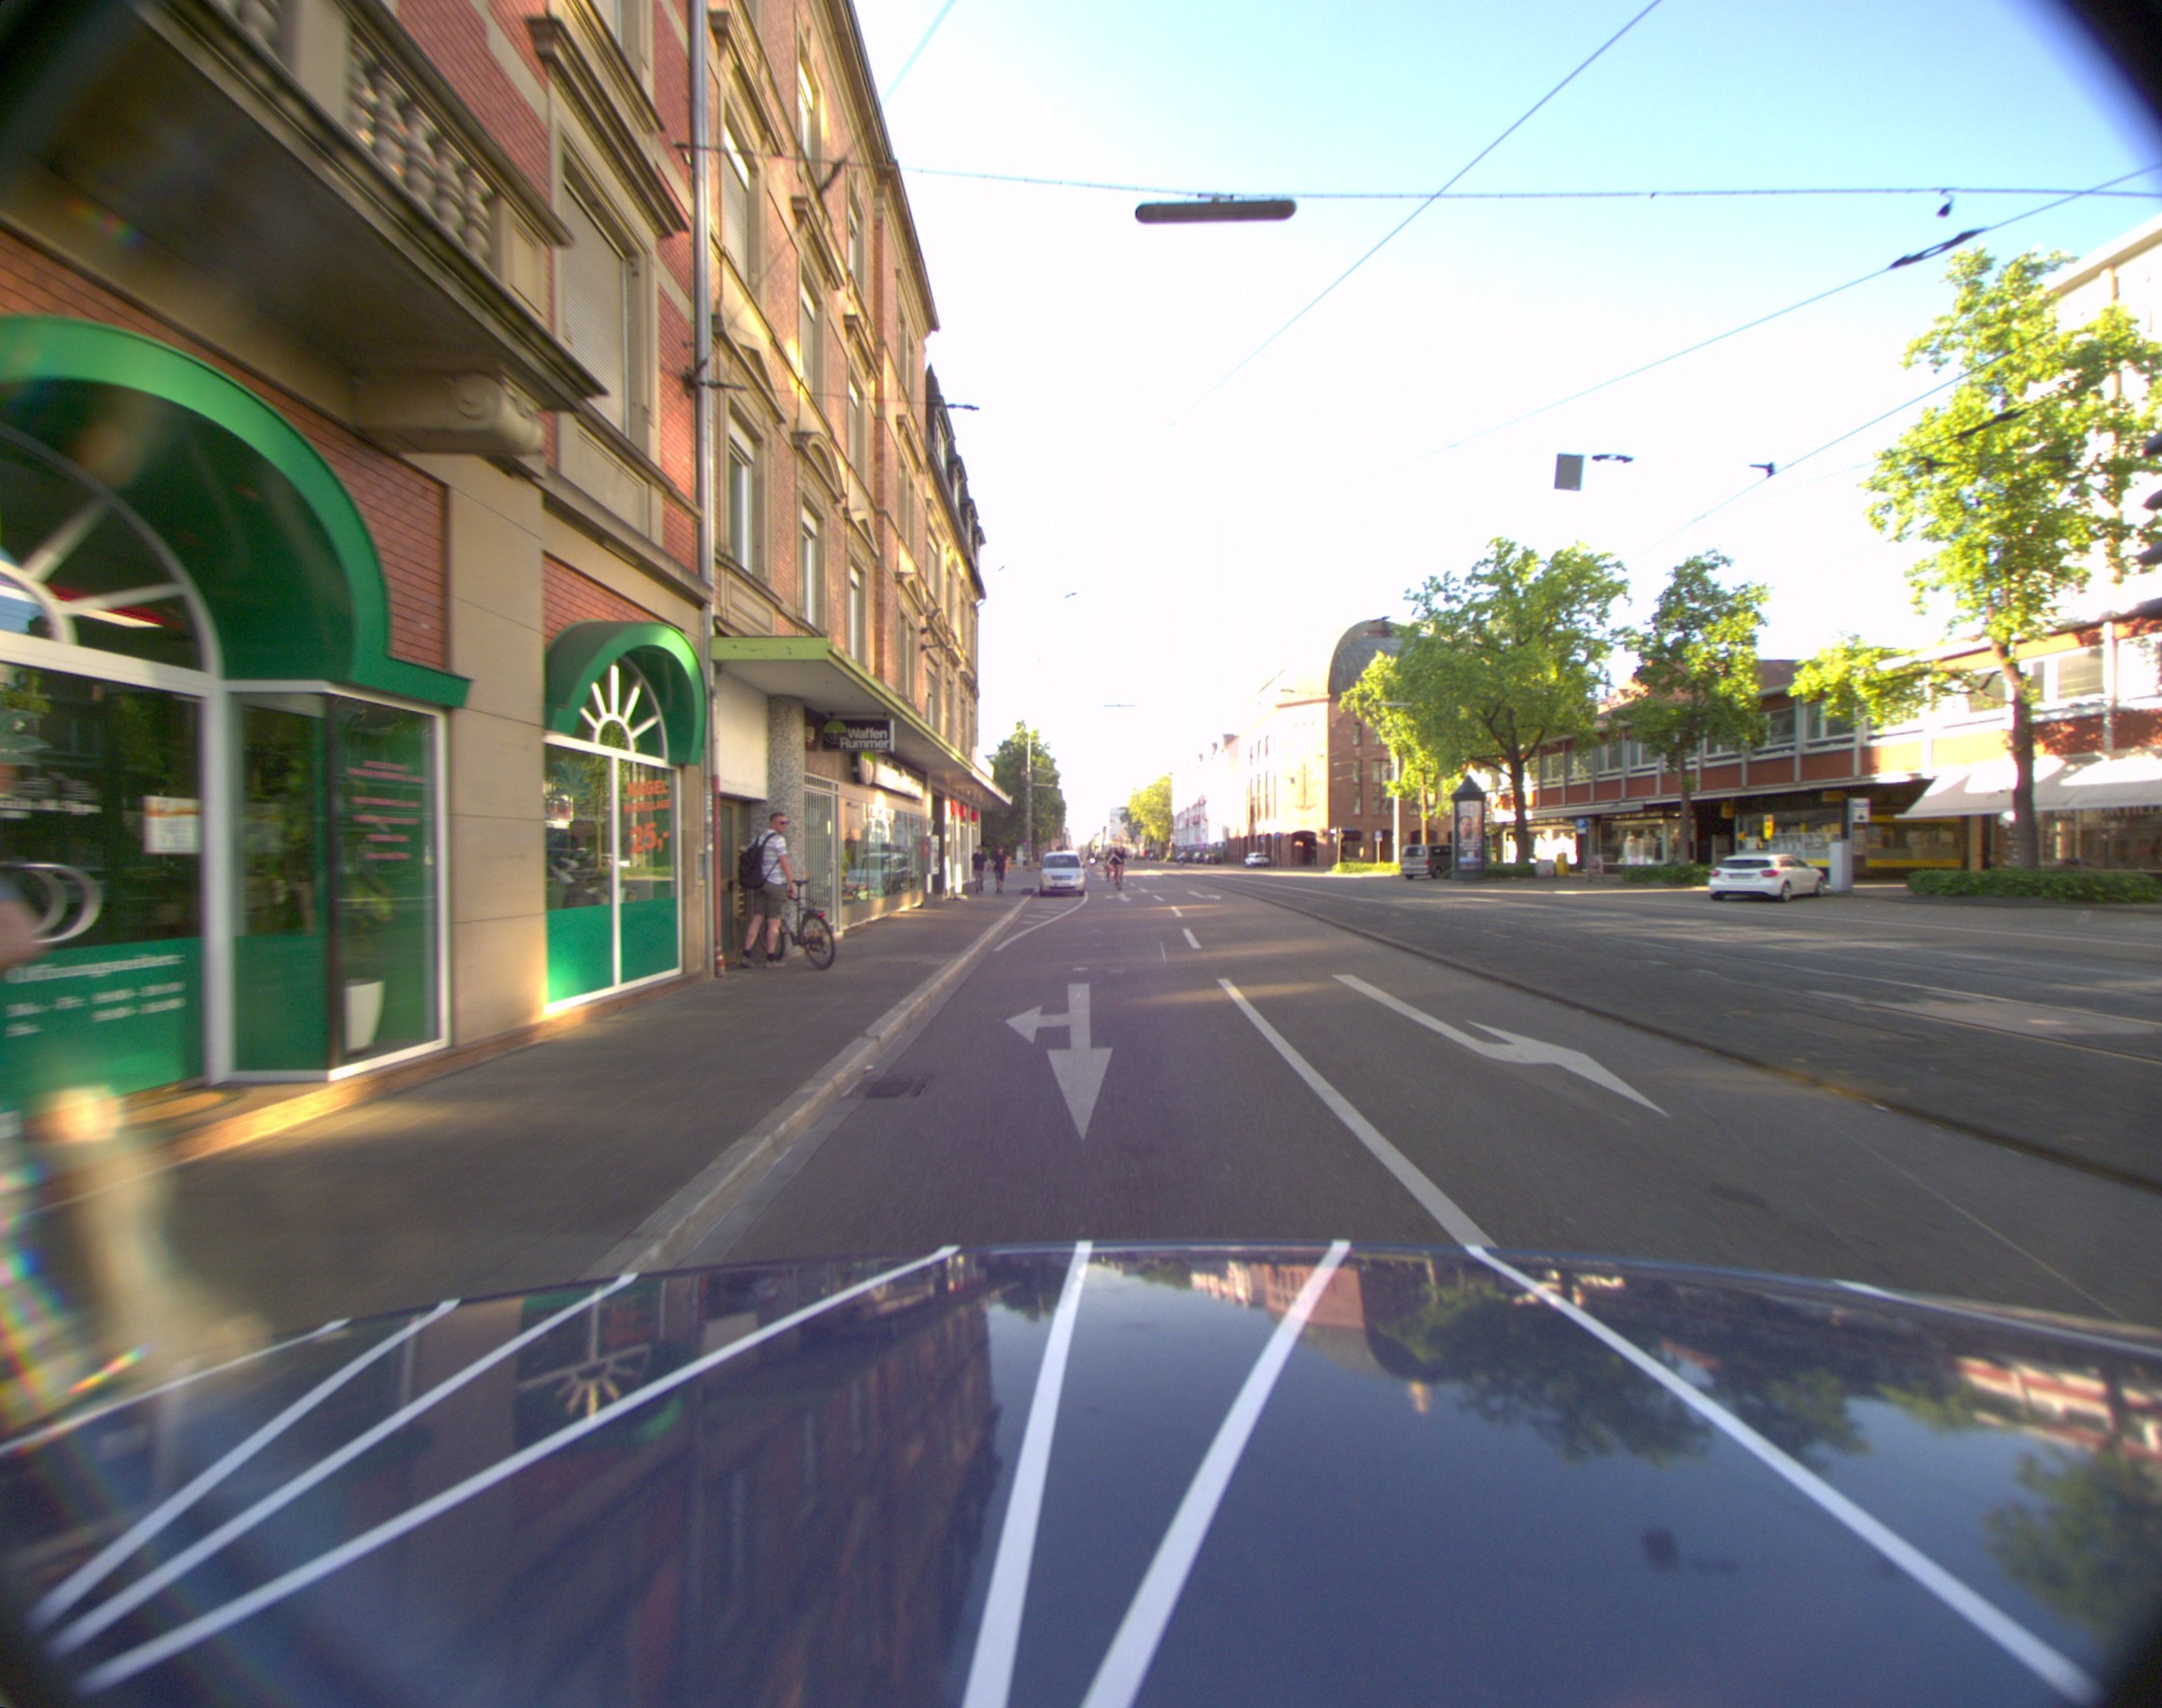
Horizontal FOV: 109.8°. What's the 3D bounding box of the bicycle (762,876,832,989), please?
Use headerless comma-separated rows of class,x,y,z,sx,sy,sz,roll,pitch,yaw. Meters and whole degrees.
bicycle,-3.676,0.933,9.750,0.669,1.246,1.891,0,0,-26

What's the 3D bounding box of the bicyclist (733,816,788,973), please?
bicyclist,-4.035,0.487,9.546,0.601,1.871,0.742,0,1,-26

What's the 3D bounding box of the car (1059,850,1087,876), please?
car,-0.513,0.564,50.758,1.671,1.674,4.000,0,0,2

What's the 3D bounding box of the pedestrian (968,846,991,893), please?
pedestrian,-3.802,0.587,28.438,0.701,1.713,0.681,2,1,1

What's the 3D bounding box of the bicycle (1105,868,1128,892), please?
bicycle,1.465,1.056,31.328,0.886,0.949,1.766,0,0,3

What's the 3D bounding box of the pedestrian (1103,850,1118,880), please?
pedestrian,1.670,0.603,43.000,0.849,1.651,0.850,0,0,3

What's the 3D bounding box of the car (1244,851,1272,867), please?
car,18.727,0.510,80.549,1.910,1.594,3.999,-1,1,-2

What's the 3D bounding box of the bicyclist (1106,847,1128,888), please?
bicyclist,1.476,0.550,31.491,0.886,1.650,0.803,0,1,3

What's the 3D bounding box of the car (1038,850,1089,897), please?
car,-0.600,0.696,29.045,1.670,1.674,4.001,0,0,3

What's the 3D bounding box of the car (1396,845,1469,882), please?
car,19.692,0.481,42.541,4.007,1.953,1.906,-1,1,-35

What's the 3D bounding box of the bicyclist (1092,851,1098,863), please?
bicyclist,1.481,0.319,80.284,0.646,1.176,0.723,0,0,-3

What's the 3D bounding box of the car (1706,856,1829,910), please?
car,21.501,0.841,23.759,4.006,1.466,1.793,-1,1,-31

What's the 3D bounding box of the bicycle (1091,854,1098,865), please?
bicycle,1.415,0.570,80.246,0.646,1.176,1.804,0,0,-3

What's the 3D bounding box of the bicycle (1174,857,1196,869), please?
bicycle,9.910,0.855,72.674,2.032,1.085,0.674,0,1,41

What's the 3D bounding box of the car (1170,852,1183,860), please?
car,18.791,0.373,149.740,1.965,1.594,3.999,-1,1,-2

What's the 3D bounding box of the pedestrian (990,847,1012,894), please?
pedestrian,-2.969,0.608,28.176,0.701,1.713,0.502,2,1,1

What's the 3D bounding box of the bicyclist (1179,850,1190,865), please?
bicyclist,9.897,0.341,72.679,0.761,1.414,0.674,1,1,41

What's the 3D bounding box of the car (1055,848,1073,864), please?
car,-1.823,0.179,81.203,1.671,1.674,4.000,0,0,2

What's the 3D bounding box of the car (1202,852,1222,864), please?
car,18.546,0.508,107.390,1.965,1.594,3.999,-1,1,-2

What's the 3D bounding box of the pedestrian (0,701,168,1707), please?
pedestrian,-2.249,0.675,1.143,0.824,1.883,0.754,2,1,0

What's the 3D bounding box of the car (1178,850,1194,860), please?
car,18.347,0.195,132.963,1.965,1.594,3.999,-1,1,-2

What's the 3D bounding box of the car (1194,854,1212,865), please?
car,18.267,0.821,114.062,1.965,1.594,3.999,-1,1,-2

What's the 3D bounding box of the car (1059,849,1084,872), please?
car,-0.693,0.461,56.189,1.671,1.674,4.000,0,0,2

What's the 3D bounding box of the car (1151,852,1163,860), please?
car,16.214,0.349,162.145,1.965,1.594,3.999,-1,1,-2
